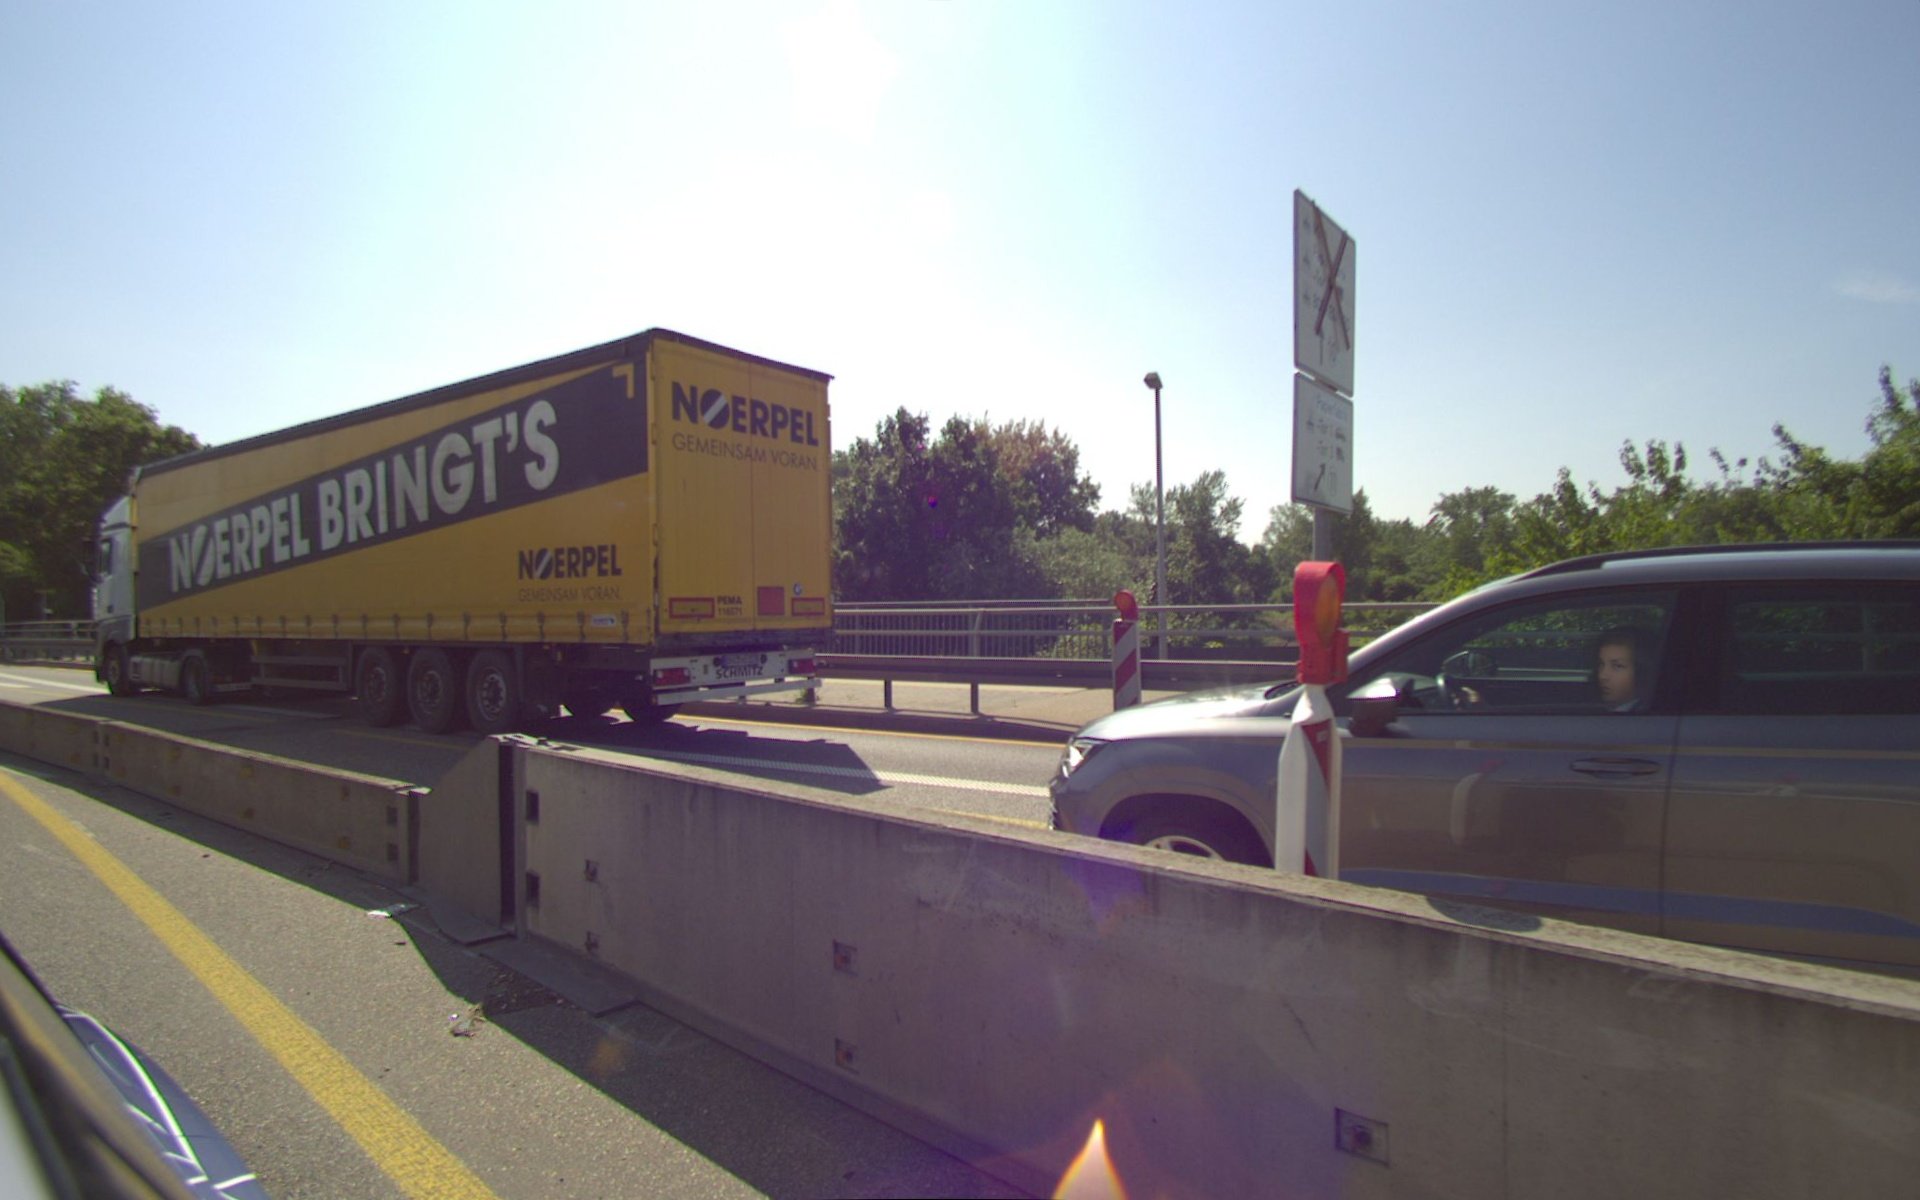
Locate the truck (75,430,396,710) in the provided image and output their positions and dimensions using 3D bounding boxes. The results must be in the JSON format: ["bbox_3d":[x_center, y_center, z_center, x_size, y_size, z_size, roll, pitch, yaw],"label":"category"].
[{"bbox_3d":[-13.021,-0.391,18.041,6.401,4.168,2.725,-1,-1,36],"label":"truck"}]

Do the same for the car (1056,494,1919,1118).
[{"bbox_3d":[2.467,0.534,3.627,3.863,1.580,1.775,-1,-1,35],"label":"car"}]

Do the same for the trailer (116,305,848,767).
[{"bbox_3d":[-7.941,-0.458,14.458,14.499,4.168,2.737,-1,-1,36],"label":"trailer"}]
